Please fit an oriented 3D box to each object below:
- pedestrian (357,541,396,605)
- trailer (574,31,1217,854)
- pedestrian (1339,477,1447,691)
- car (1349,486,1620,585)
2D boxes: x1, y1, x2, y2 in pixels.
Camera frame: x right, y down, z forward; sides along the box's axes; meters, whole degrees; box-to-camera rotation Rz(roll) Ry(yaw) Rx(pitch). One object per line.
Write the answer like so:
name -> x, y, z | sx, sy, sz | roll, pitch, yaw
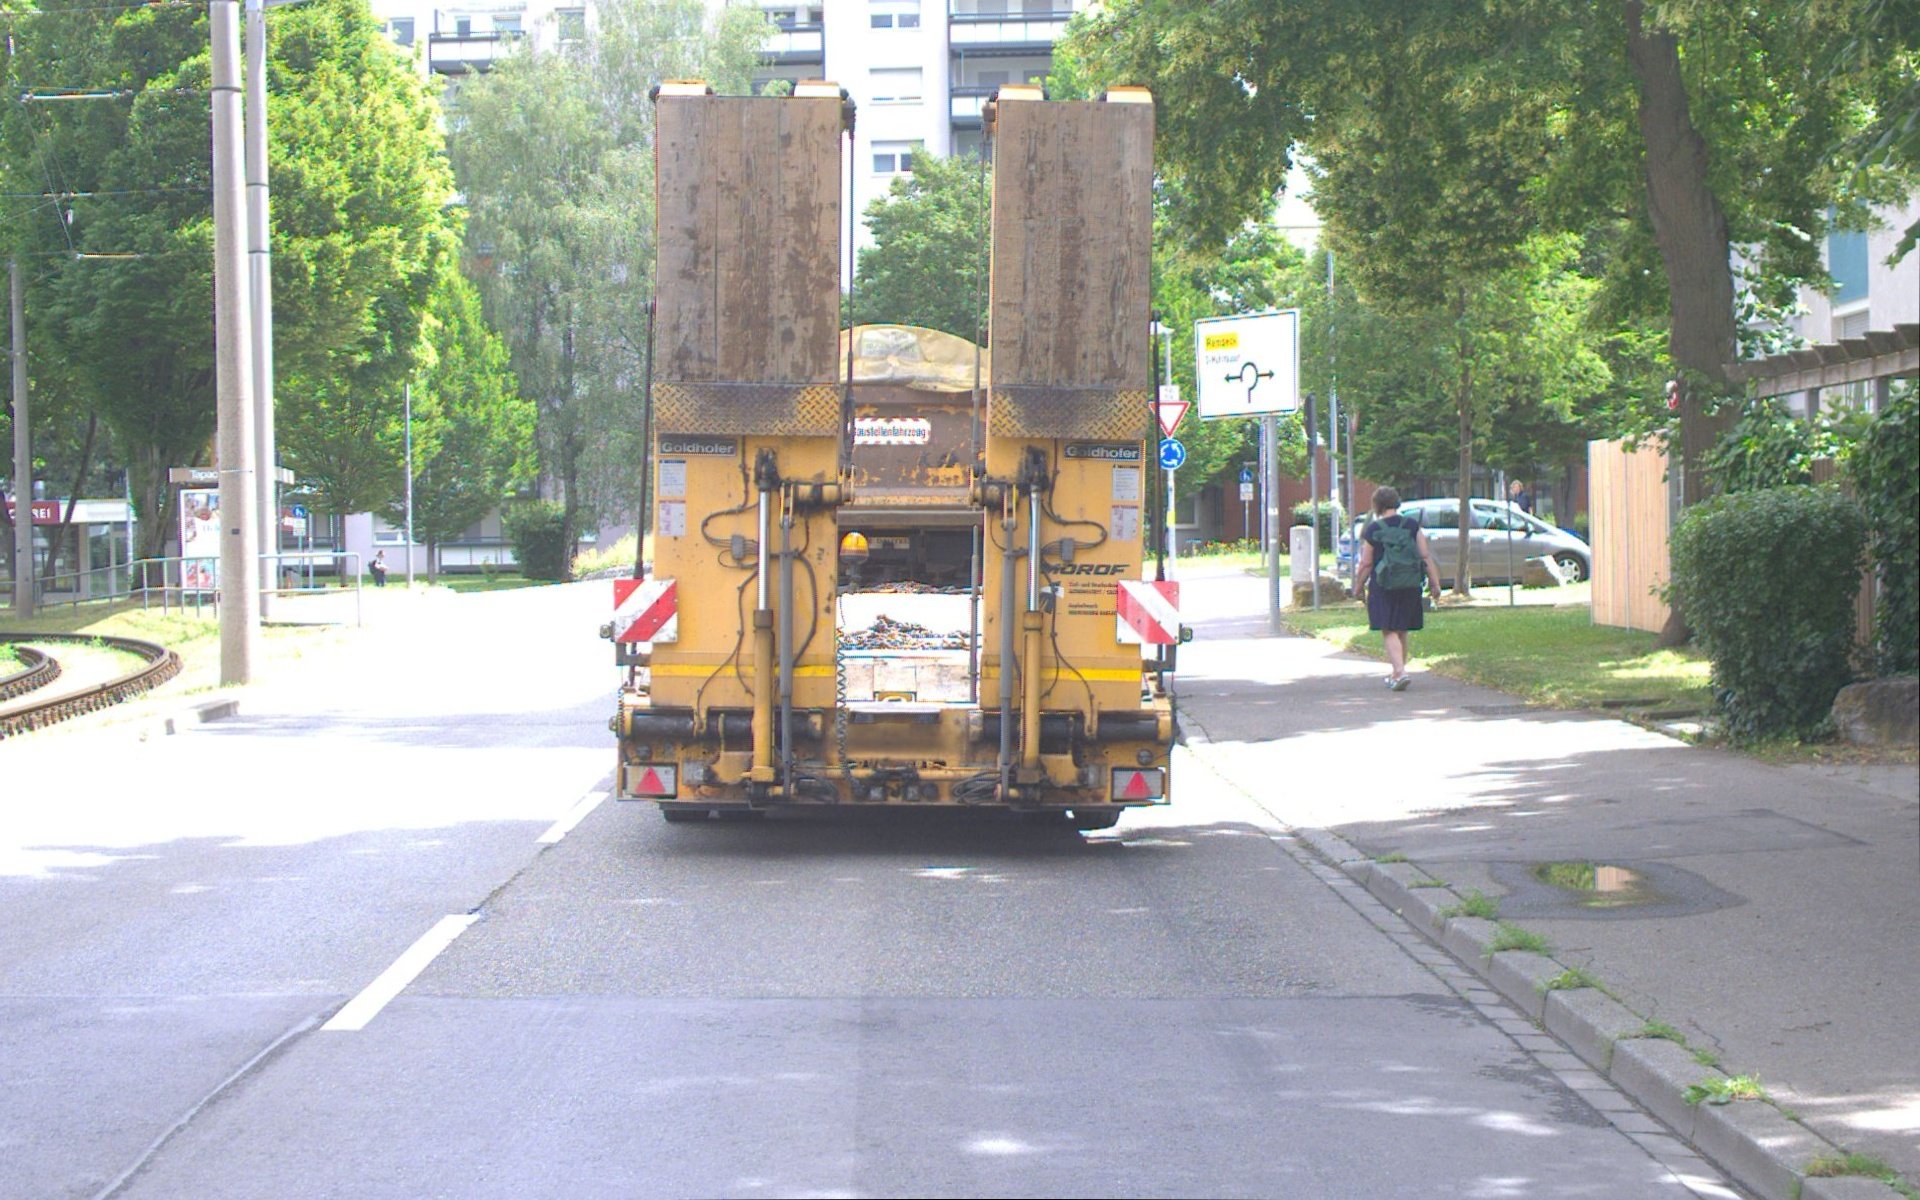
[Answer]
pedestrian -> -18.439, -0.848, 108.606 | 0.907, 2.007, 0.962 | 0, 1, -31
trailer -> -0.509, -0.839, 21.504 | 2.827, 3.633, 12.356 | 1, 1, -2
pedestrian -> 3.537, -0.142, 28.122 | 0.718, 1.700, 0.766 | -2, 2, -1
car -> 8.536, -1.047, 56.096 | 3.986, 1.556, 1.760 | 0, 1, -12
